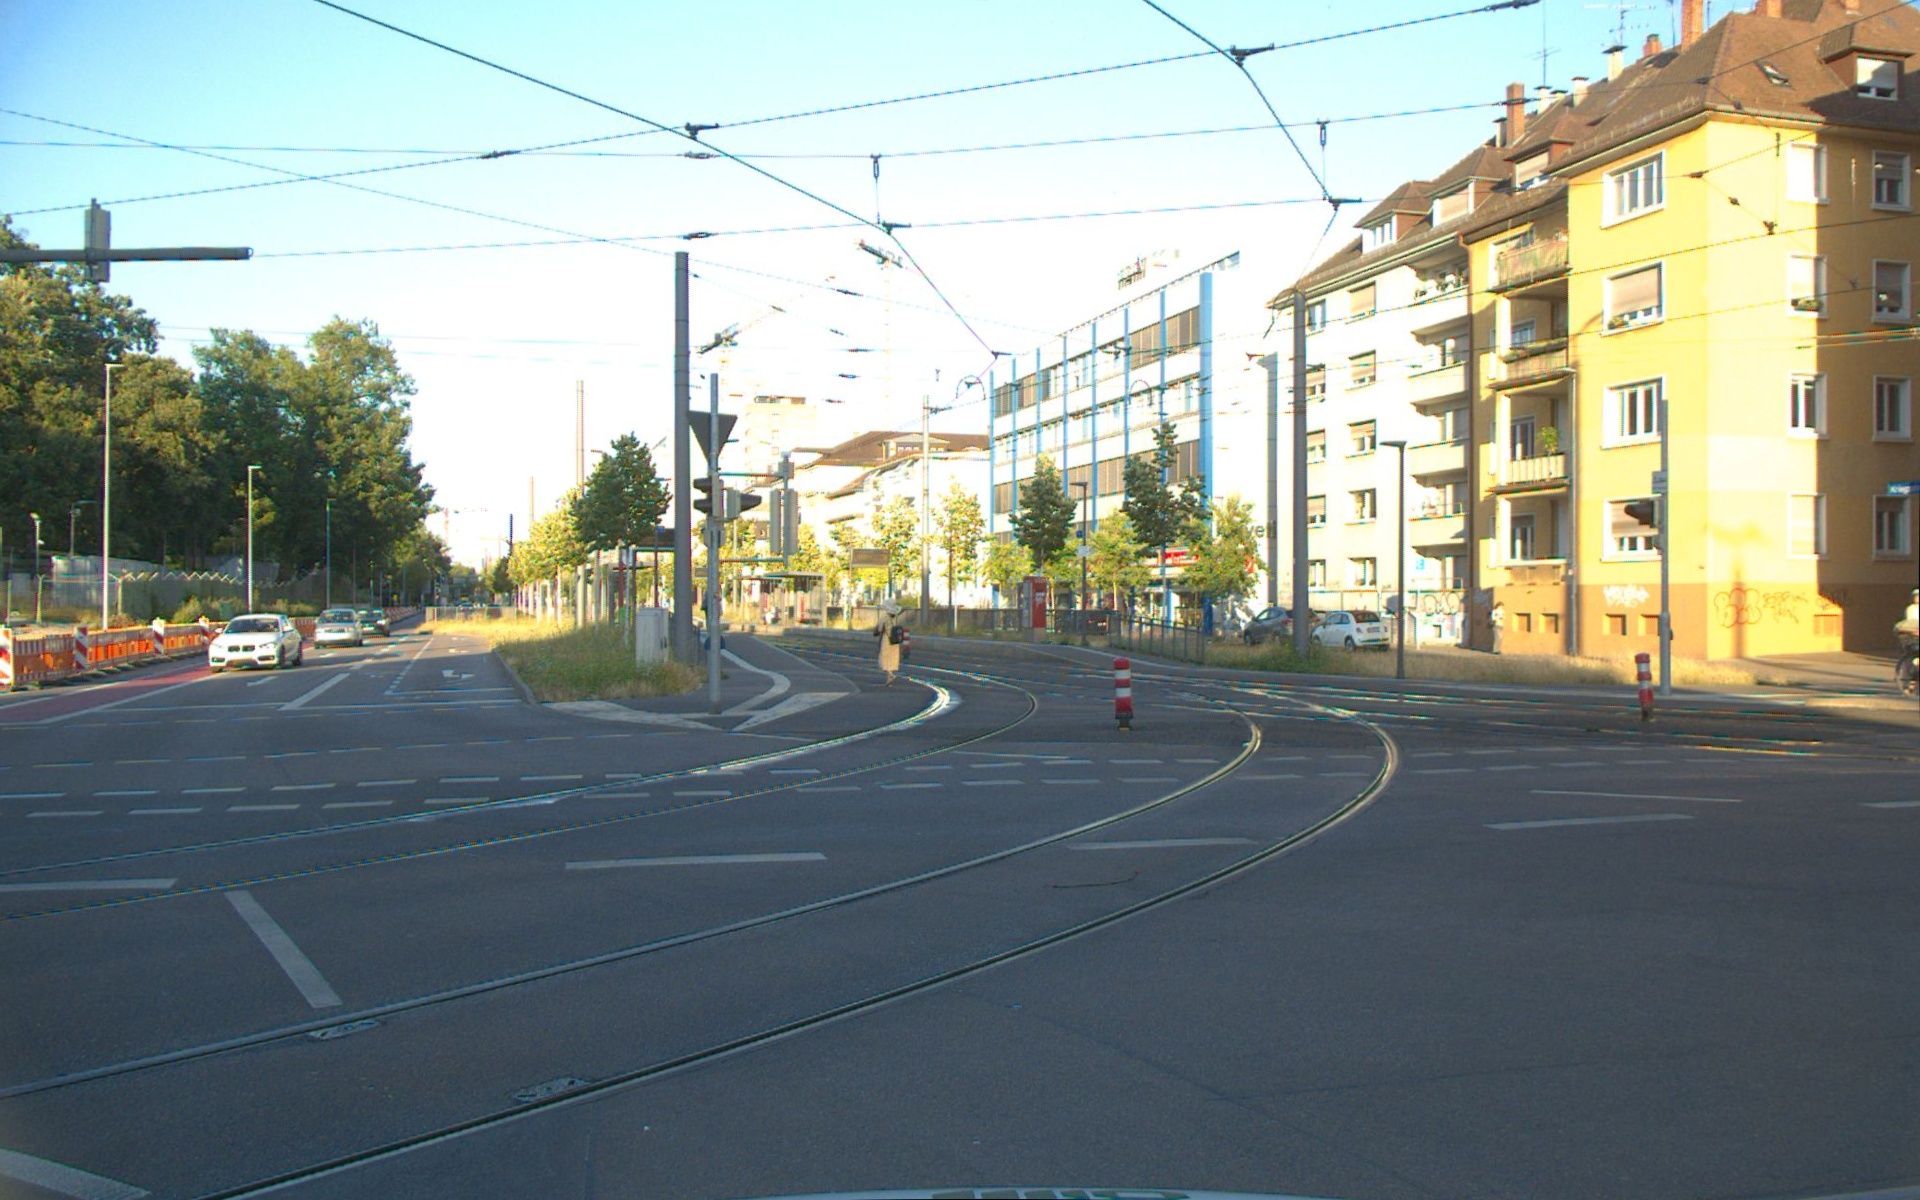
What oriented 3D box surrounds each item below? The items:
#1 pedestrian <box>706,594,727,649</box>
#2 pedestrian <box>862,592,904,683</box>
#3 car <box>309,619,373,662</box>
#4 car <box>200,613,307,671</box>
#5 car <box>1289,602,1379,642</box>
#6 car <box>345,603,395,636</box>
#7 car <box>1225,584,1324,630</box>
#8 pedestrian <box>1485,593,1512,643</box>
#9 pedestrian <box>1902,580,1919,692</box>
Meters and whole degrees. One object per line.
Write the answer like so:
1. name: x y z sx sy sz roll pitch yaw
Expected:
1. pedestrian: -7.238 0.644 49.056 0.554 1.618 0.688 0 0 -13
2. pedestrian: -1.349 0.651 29.090 0.690 1.568 0.637 -1 0 0
3. car: -24.772 1.599 66.250 1.645 1.588 3.718 -2 -1 -9
4. car: -18.785 1.079 44.159 1.877 1.430 4.290 -1 0 -13
5. car: 13.883 0.820 61.499 1.707 1.445 3.524 0 -1 -18
6. car: -30.174 0.973 84.715 1.905 1.645 4.377 -1 0 -13
7. car: 12.524 0.277 66.079 2.080 1.734 4.327 0 0 -18
8. pedestrian: 17.637 0.578 54.188 0.694 1.627 0.735 -1 0 7
9. pedestrian: 15.166 0.559 25.949 0.411 1.738 0.513 0 0 -16
